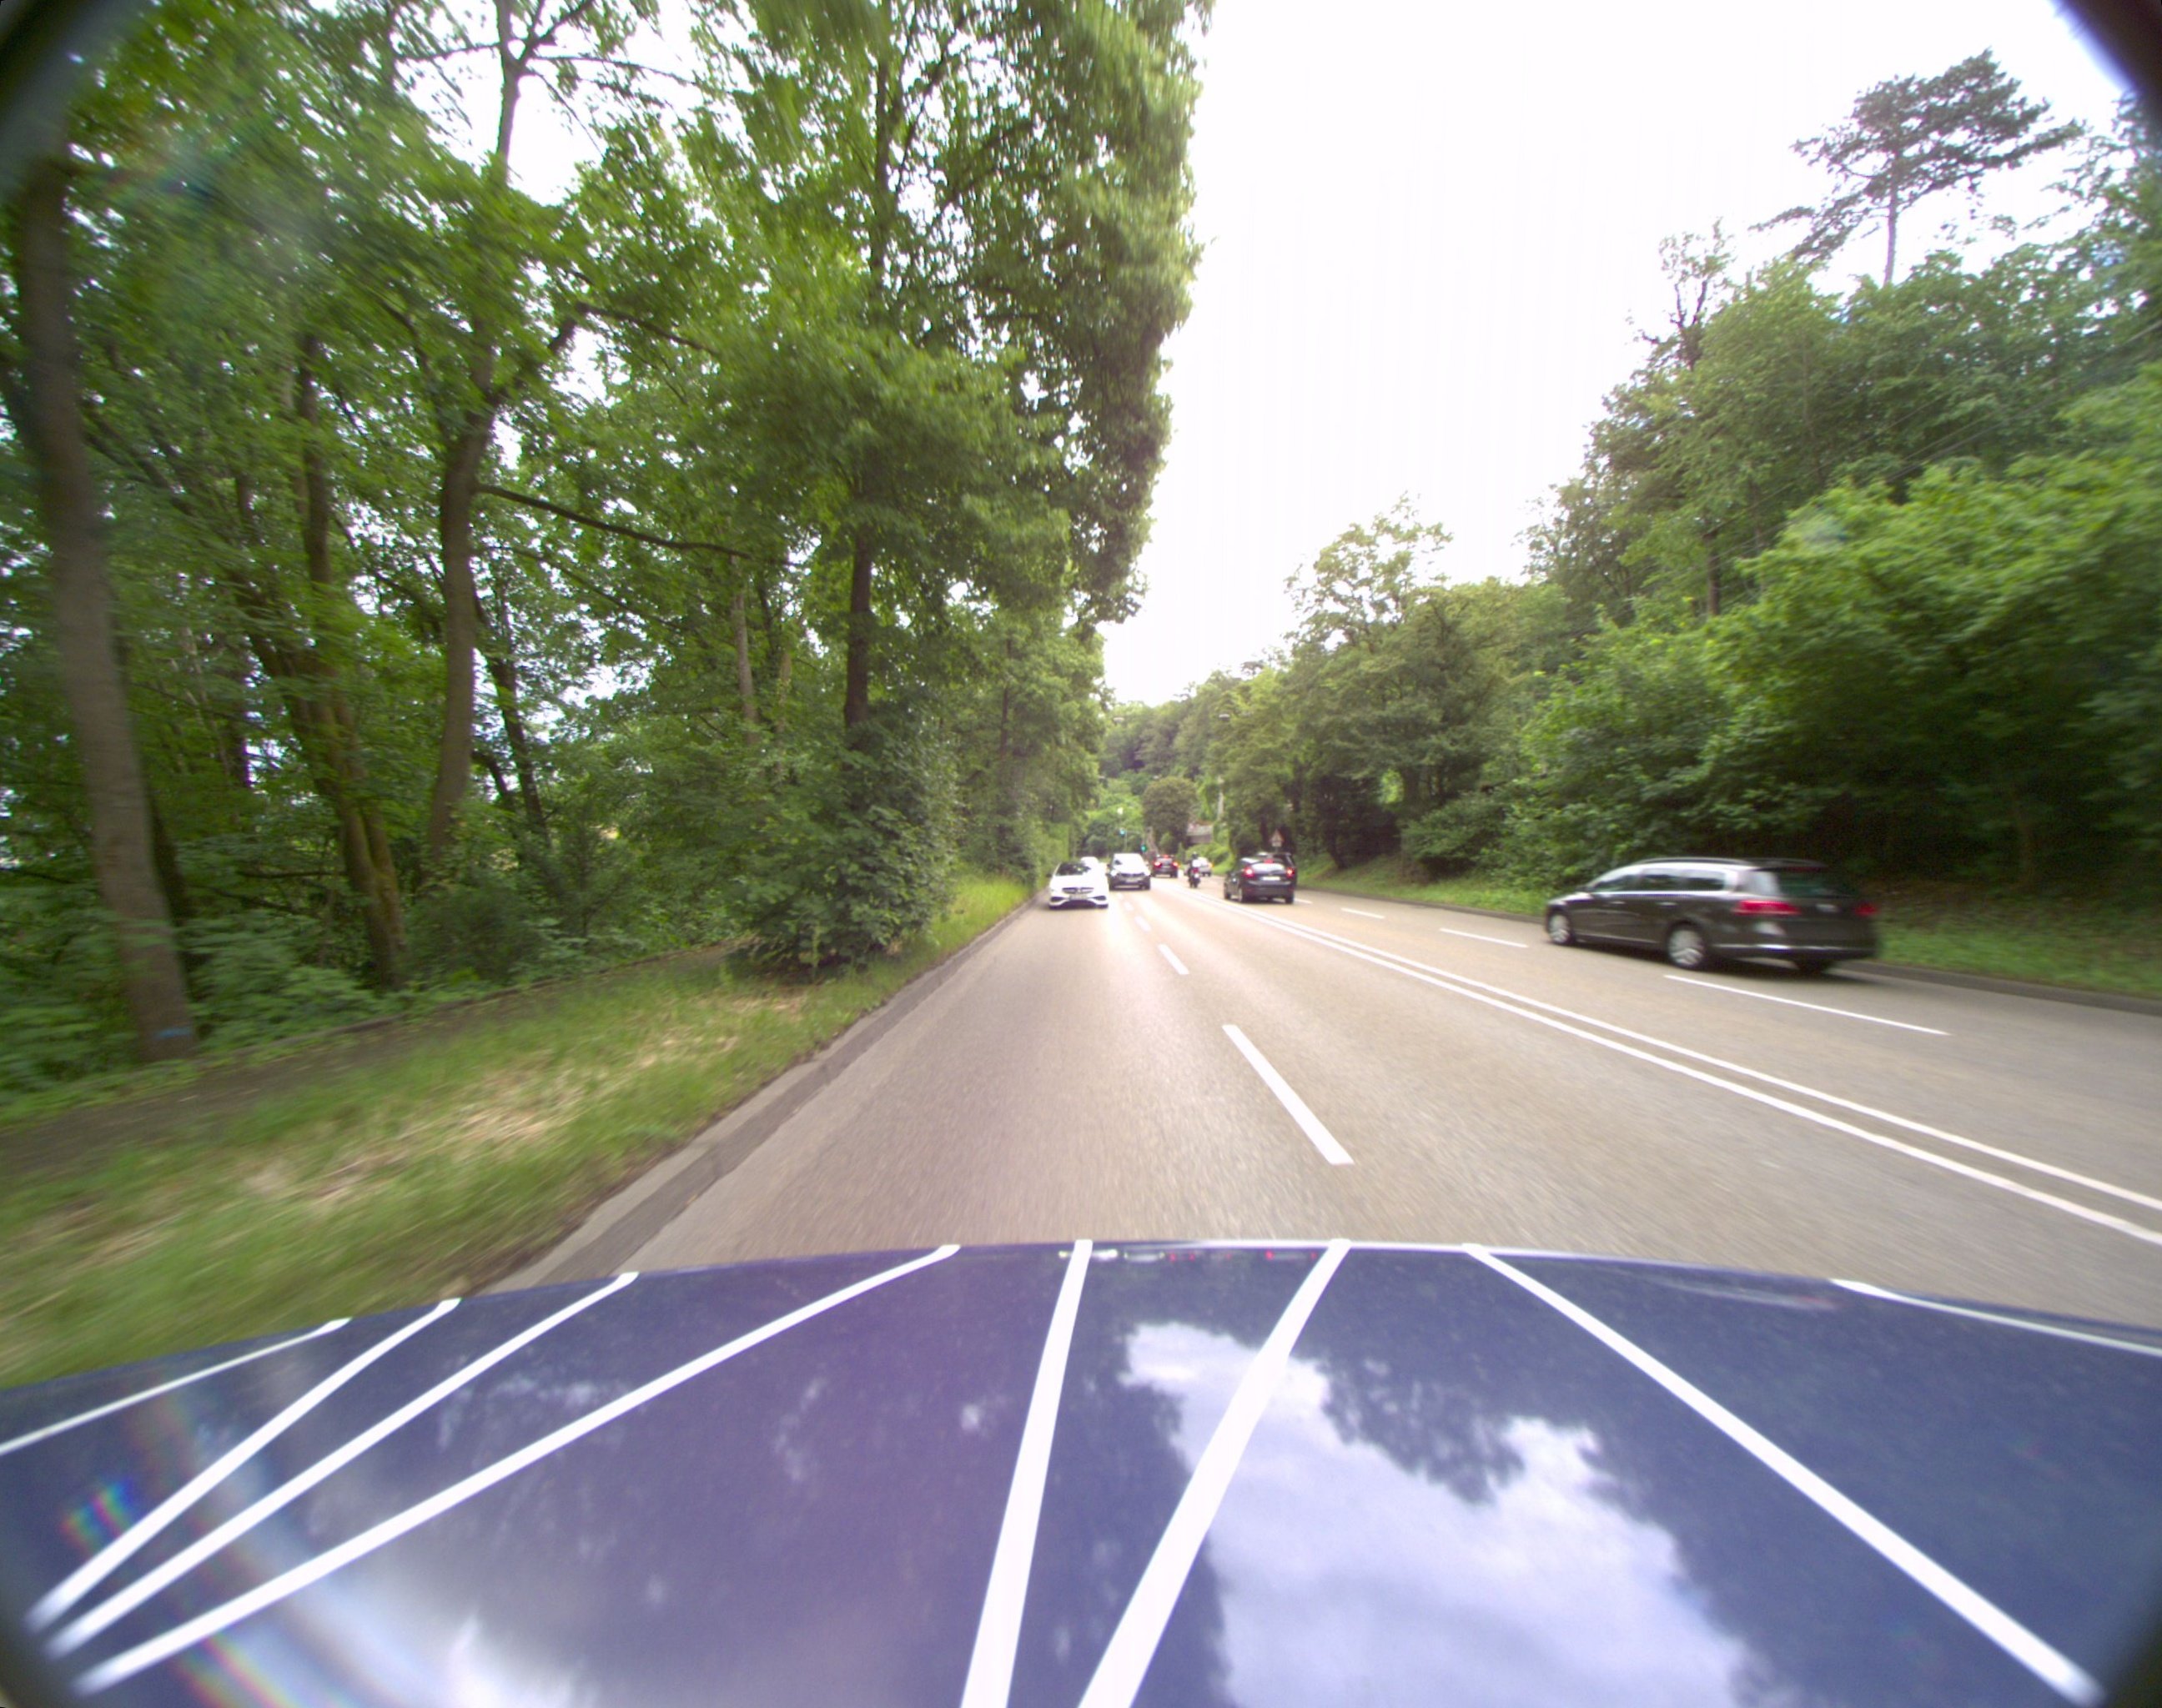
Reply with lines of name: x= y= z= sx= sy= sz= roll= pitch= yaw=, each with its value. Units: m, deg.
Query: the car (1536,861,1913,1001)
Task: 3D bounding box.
car: x=8.762 y=0.914 z=11.003 sx=1.736 sy=1.502 sz=4.433 roll=1 pitch=1 yaw=1

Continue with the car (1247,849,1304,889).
car: x=9.267 y=0.660 z=36.452 sx=1.662 sy=1.762 sz=4.135 roll=1 pitch=1 yaw=1

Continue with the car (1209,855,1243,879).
car: x=10.102 y=0.877 z=53.108 sx=1.572 sy=1.543 sz=3.999 roll=-2 pitch=1 yaw=1

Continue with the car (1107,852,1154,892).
car: x=2.194 y=0.761 z=34.541 sx=1.871 sy=1.653 sz=4.192 roll=1 pitch=1 yaw=0

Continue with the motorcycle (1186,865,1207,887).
motorcycle: x=5.470 y=1.034 z=36.184 sx=0.701 sy=0.993 sz=2.026 roll=1 pitch=0 yaw=1

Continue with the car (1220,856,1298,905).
car: x=5.769 y=0.814 z=25.130 sx=1.690 sy=1.453 sz=4.000 roll=0 pitch=1 yaw=1

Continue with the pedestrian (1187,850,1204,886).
pedestrian: x=5.418 y=0.643 z=36.058 sx=0.664 sy=1.678 sz=0.830 roll=1 pitch=1 yaw=1

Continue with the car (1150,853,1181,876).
car: x=6.103 y=0.719 z=55.040 sx=1.802 sy=1.543 sz=4.000 roll=-2 pitch=1 yaw=1
